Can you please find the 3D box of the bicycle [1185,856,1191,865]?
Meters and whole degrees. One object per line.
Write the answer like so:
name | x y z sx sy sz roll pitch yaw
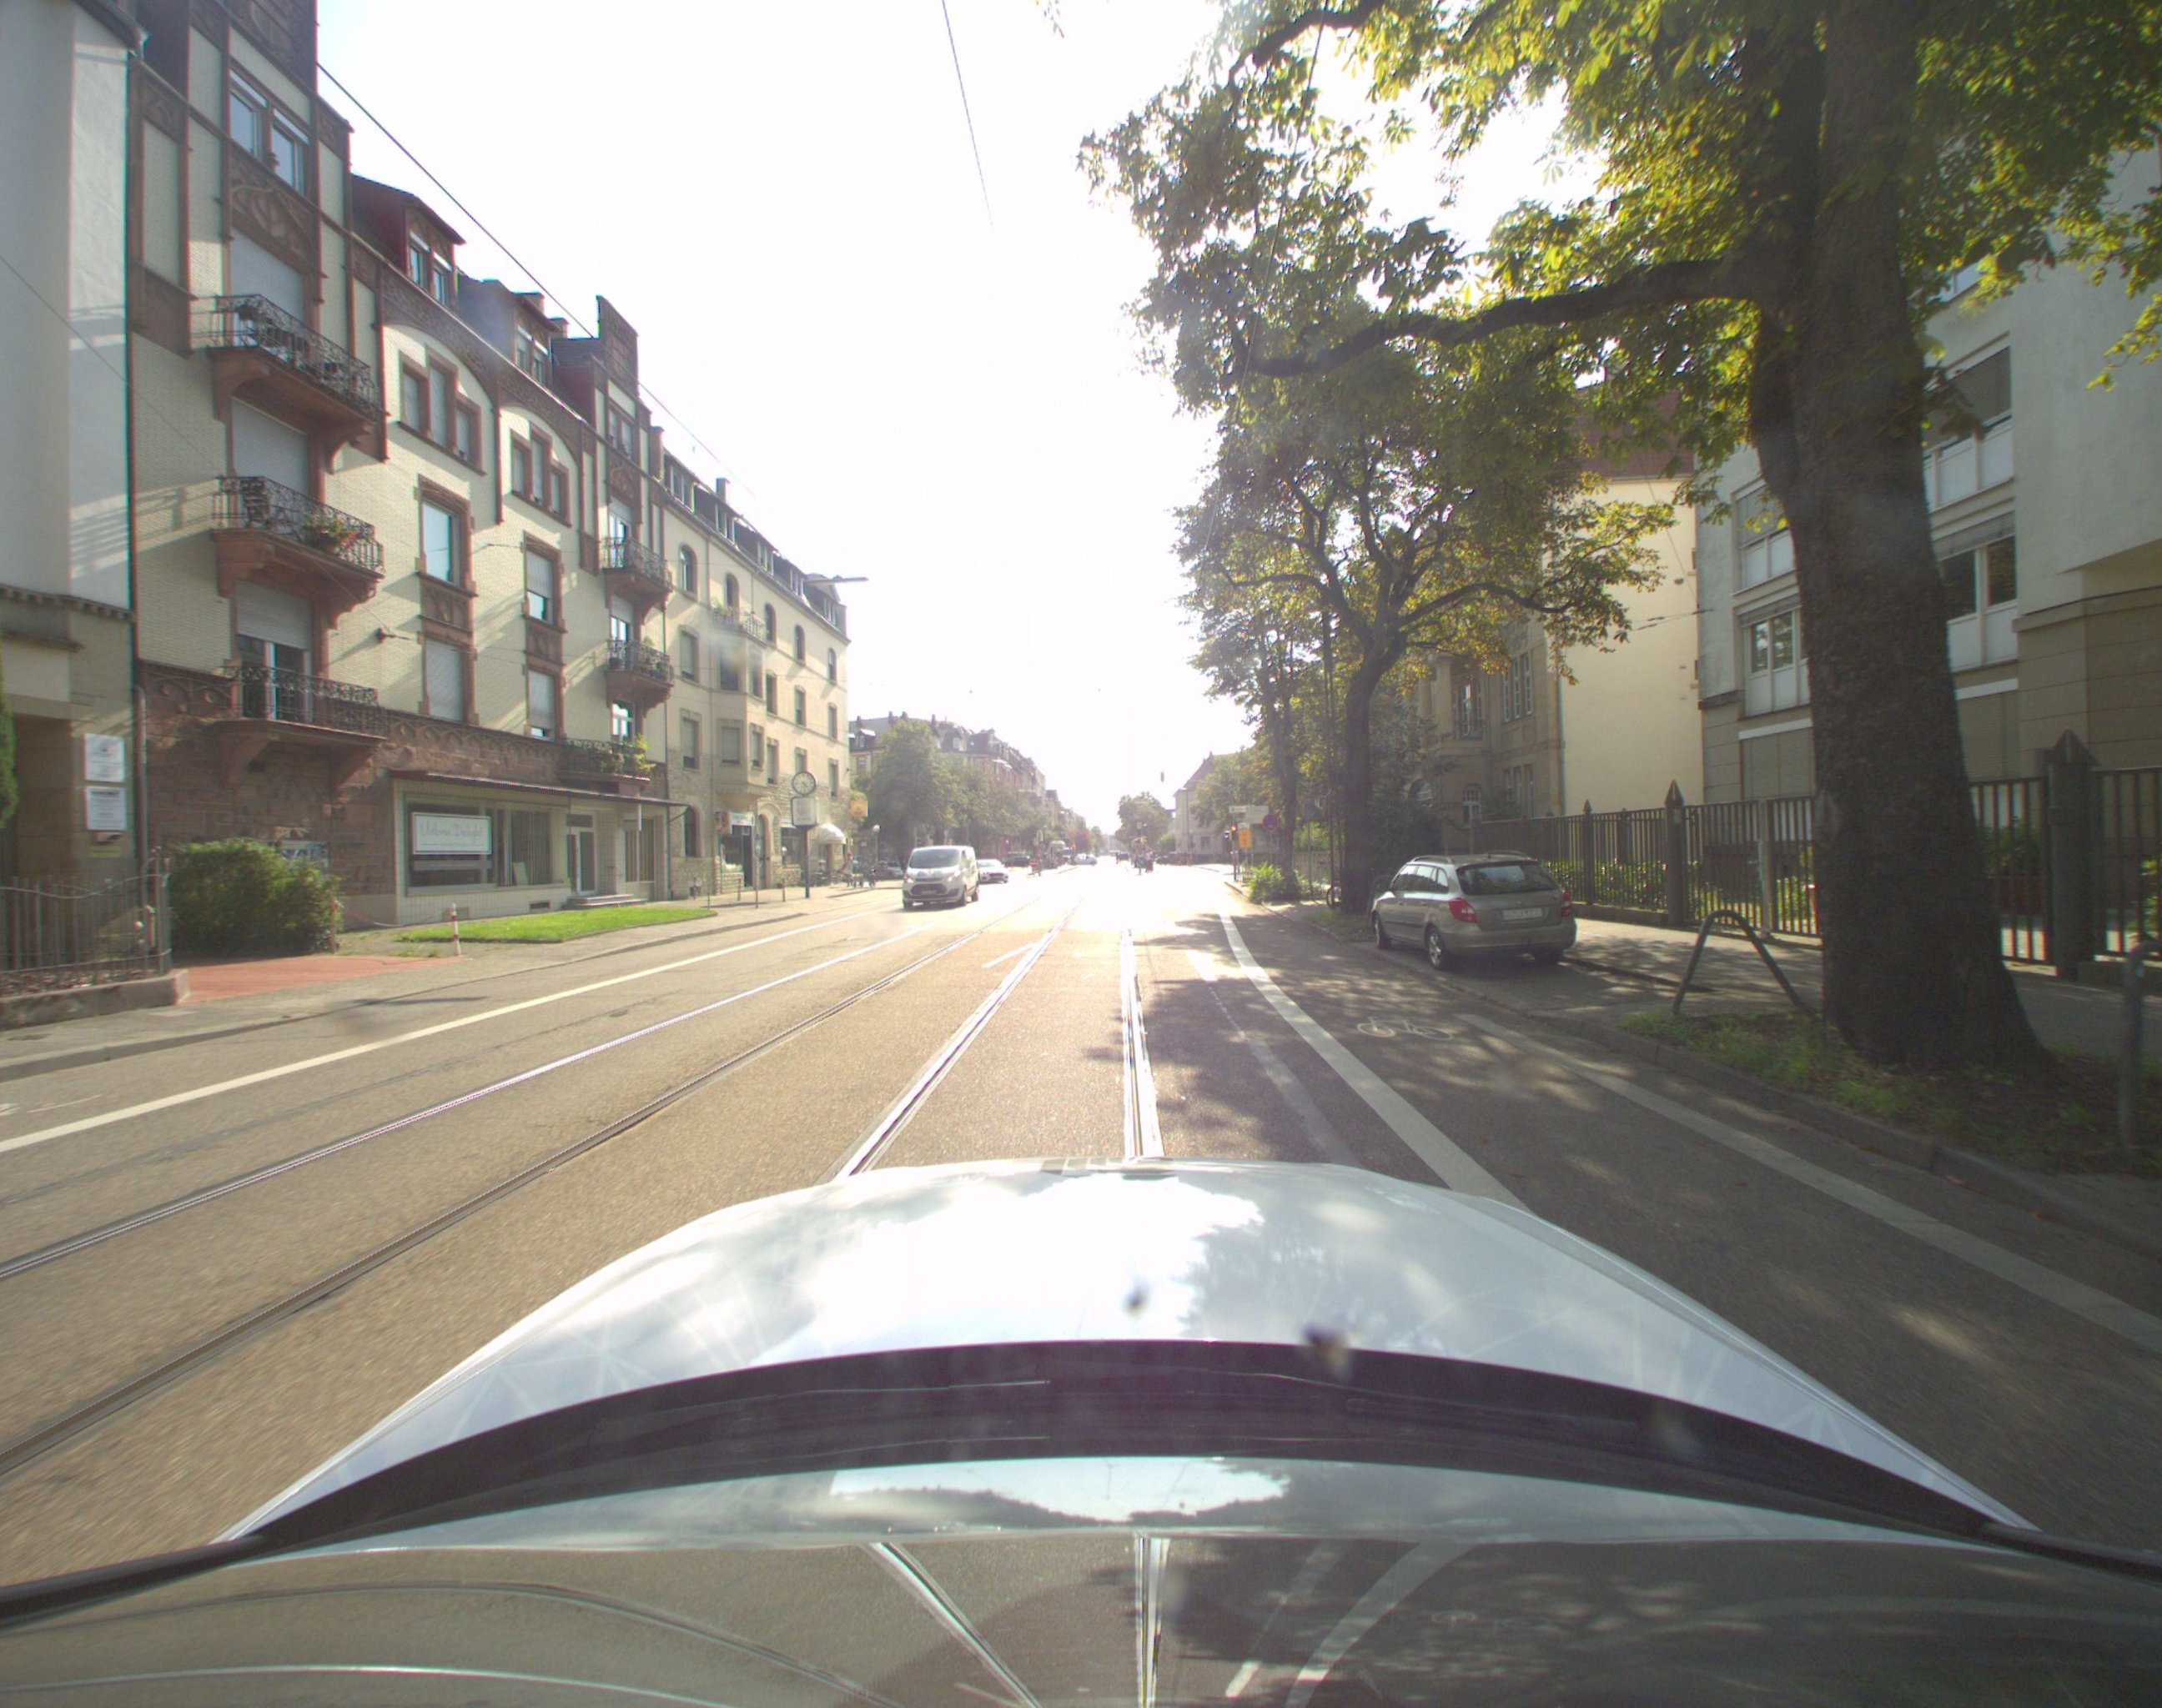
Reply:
bicycle | 12.449 0.725 94.906 0.556 0.978 1.857 -1 0 2

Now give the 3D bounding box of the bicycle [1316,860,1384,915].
bicycle | 6.568 0.801 19.861 1.851 1.166 0.499 -4 -4 -38

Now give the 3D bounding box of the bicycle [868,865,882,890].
bicycle | -10.979 1.237 43.451 0.452 1.226 1.853 -1 0 -6

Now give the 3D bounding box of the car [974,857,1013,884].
car | -5.348 0.957 50.331 1.866 1.454 4.544 -4 0 0

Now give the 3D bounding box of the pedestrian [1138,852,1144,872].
pedestrian | 5.408 0.728 73.351 0.502 1.759 0.534 1 2 3

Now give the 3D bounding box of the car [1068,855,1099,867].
car | 0.319 0.911 107.182 3.948 1.552 2.002 -2 0 3

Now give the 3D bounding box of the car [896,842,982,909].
car | -4.645 0.666 27.370 1.987 2.013 4.858 -1 0 0

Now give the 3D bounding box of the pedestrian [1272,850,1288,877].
pedestrian | 13.002 0.591 53.301 0.749 1.731 0.770 -1 0 -6

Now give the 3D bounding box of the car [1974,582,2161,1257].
car | 4.878 0.222 0.471 2.037 2.498 6.233 -2 0 3

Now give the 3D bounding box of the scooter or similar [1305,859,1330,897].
scooter or similar | 7.835 0.788 27.017 0.554 1.197 1.036 -4 -1 8

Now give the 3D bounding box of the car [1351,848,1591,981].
car | 5.515 0.747 12.201 1.600 1.524 4.360 -4 0 3

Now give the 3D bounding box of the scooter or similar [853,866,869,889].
scooter or similar | -11.582 1.243 42.940 0.368 1.197 1.021 -1 -1 -43

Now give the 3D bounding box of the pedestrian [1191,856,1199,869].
pedestrian | 15.910 1.212 113.520 0.883 1.740 0.780 -2 -1 24

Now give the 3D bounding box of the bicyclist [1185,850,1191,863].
bicyclist | 12.432 0.300 94.923 0.556 1.417 0.872 -1 0 2

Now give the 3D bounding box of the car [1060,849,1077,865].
car | -2.145 0.582 140.963 2.335 2.662 5.115 -1 0 7

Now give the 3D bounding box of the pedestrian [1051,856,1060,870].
pedestrian | -2.565 0.931 81.434 0.825 1.359 0.776 -1 0 -1

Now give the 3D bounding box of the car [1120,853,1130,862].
car | 8.734 0.660 161.093 1.793 1.653 3.646 -1 0 4

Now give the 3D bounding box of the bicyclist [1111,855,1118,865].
bicyclist | 4.466 0.817 108.386 0.815 1.328 0.549 -2 0 3

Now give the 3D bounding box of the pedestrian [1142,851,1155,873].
pedestrian | 5.368 0.618 64.365 0.693 1.725 0.753 3 3 36

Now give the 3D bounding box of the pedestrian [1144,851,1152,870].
pedestrian | 6.373 0.622 77.508 0.706 1.759 0.534 1 2 3

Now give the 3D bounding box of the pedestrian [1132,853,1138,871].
pedestrian | 5.286 0.757 79.607 0.530 1.759 0.545 1 2 4

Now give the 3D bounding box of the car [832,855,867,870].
car | -29.311 1.030 103.089 3.951 1.828 2.011 -1 0 24

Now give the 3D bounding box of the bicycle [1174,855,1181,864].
bicycle | 11.266 0.658 95.520 0.626 0.978 1.771 -1 0 2

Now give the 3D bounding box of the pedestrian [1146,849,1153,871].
pedestrian | 5.783 0.496 68.616 0.502 1.833 0.534 1 2 3

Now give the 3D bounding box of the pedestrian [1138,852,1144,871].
pedestrian | 5.761 0.749 78.161 0.540 1.759 0.534 1 2 3

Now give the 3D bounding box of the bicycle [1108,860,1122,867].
bicycle | 4.489 1.275 108.389 1.842 0.958 0.549 -2 0 3

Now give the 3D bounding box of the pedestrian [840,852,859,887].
pedestrian | -12.527 0.810 44.086 0.771 1.859 0.830 -1 0 1

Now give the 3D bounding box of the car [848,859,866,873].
car | -24.975 1.322 91.055 1.867 1.466 4.762 -1 0 -15

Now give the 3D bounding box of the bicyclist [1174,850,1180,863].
bicyclist | 11.264 0.326 95.520 0.626 1.507 0.679 -1 0 1

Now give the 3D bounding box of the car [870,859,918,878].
car | -14.776 1.120 64.111 1.879 1.466 4.732 -1 0 -37
